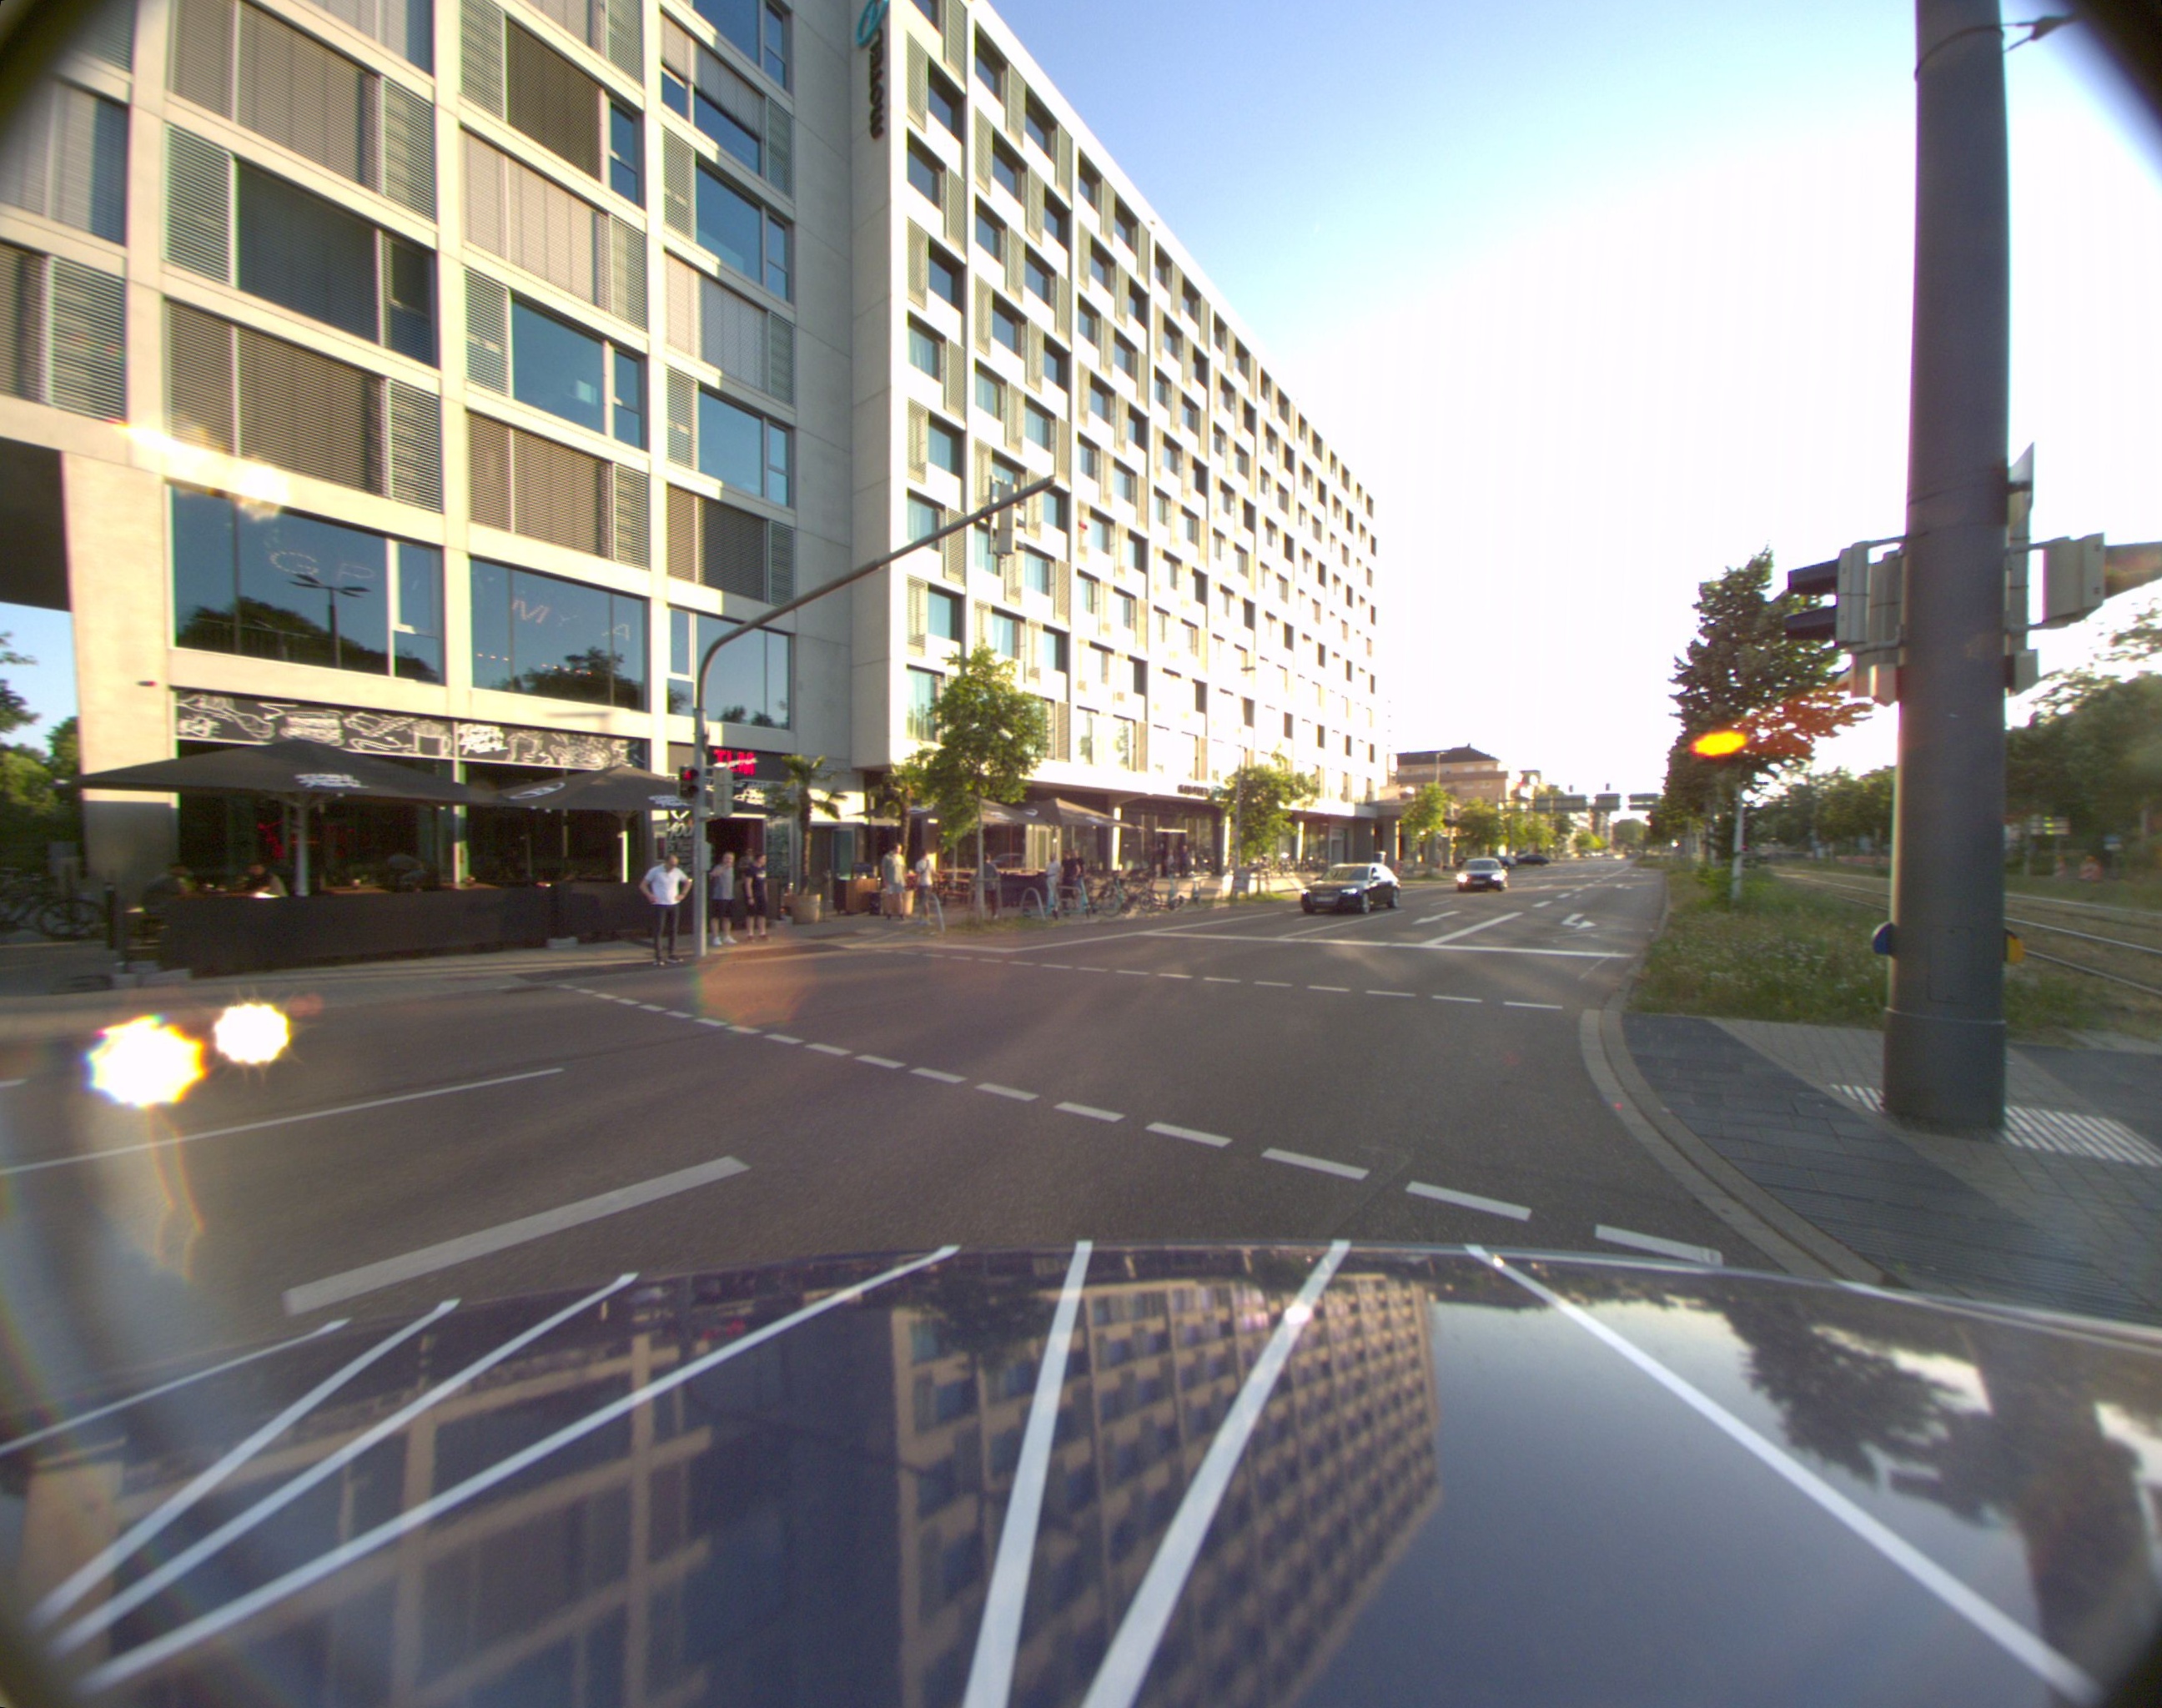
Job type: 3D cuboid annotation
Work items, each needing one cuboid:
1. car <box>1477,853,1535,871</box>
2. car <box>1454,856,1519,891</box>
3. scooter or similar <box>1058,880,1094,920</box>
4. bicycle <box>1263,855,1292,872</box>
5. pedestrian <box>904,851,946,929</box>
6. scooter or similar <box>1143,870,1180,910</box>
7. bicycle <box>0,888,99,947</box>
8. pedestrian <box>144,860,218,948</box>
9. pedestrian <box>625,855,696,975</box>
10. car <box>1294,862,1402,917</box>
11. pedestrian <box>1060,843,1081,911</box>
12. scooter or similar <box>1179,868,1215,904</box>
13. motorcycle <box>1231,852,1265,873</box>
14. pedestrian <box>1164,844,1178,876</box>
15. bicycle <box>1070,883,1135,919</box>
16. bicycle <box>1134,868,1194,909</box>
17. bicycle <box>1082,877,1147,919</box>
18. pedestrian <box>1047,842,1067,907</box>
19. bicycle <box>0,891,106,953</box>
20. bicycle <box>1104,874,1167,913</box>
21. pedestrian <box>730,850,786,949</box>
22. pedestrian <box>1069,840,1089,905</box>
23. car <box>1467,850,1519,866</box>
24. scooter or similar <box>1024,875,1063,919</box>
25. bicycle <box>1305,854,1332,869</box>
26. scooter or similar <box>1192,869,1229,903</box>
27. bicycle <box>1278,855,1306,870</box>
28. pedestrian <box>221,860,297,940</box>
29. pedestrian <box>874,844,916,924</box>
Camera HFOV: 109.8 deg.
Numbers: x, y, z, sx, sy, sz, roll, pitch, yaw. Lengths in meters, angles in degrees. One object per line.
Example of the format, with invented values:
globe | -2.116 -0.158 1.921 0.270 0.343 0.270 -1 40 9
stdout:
car | 39.459 0.723 70.655 4.283 1.581 2.008 1 1 -2
car | 18.516 0.864 34.612 2.016 1.432 4.811 -1 0 35
scooter or similar | -0.144 1.258 20.858 1.007 1.028 0.292 2 0 38
bicycle | 12.587 0.605 48.727 1.743 1.014 0.422 1 1 34
pedestrian | -3.769 0.848 18.326 0.615 1.812 0.710 5 4 40
scooter or similar | 2.556 1.129 24.154 1.182 1.210 0.339 1 1 38
bicycle | -17.756 1.068 12.461 0.393 0.869 1.982 4 4 36
pedestrian | -15.511 0.834 13.100 0.604 1.454 0.774 1 2 37
pedestrian | -6.776 0.947 12.252 0.706 1.826 0.764 4 3 36
car | 8.154 0.993 22.973 1.886 1.431 4.232 -1 0 37
pedestrian | -0.326 0.680 22.751 0.552 2.002 0.502 0 1 -11
scooter or similar | 3.928 1.084 25.812 1.182 1.157 0.339 1 1 38
motorcycle | 10.095 0.512 45.863 1.893 1.165 0.517 2 2 22
pedestrian | 4.766 0.303 40.190 0.428 1.647 0.517 4 4 39
bicycle | 0.592 1.321 21.570 1.865 0.865 0.444 3 2 34
bicycle | 2.691 1.111 24.802 1.909 1.192 0.444 3 2 34
bicycle | 0.963 1.256 22.029 1.909 1.053 0.444 3 2 34
pedestrian | -0.740 0.621 23.404 0.552 2.002 0.502 0 1 -11
bicycle | -17.004 1.103 11.970 0.393 0.869 1.982 4 4 36
bicycle | 1.631 1.176 23.115 1.909 1.053 0.444 3 2 34
pedestrian | -6.300 0.864 14.841 0.706 1.826 0.682 4 2 36
pedestrian | -0.067 0.570 23.605 0.552 2.002 0.502 0 1 -11
car | 41.099 0.371 75.774 4.128 1.428 1.824 2 2 -2
scooter or similar | -1.007 1.128 20.121 0.972 1.078 0.339 4 1 38
bicycle | 16.842 0.529 53.936 1.788 1.014 0.422 1 1 34
scooter or similar | 4.529 1.118 26.624 1.181 1.052 0.338 7 7 38
bicycle | 14.142 0.556 50.964 1.788 1.014 0.422 1 1 34
pedestrian | -15.164 0.820 14.029 0.604 1.406 0.774 1 1 22
pedestrian | -4.622 0.718 18.884 0.678 1.913 0.710 5 4 42
